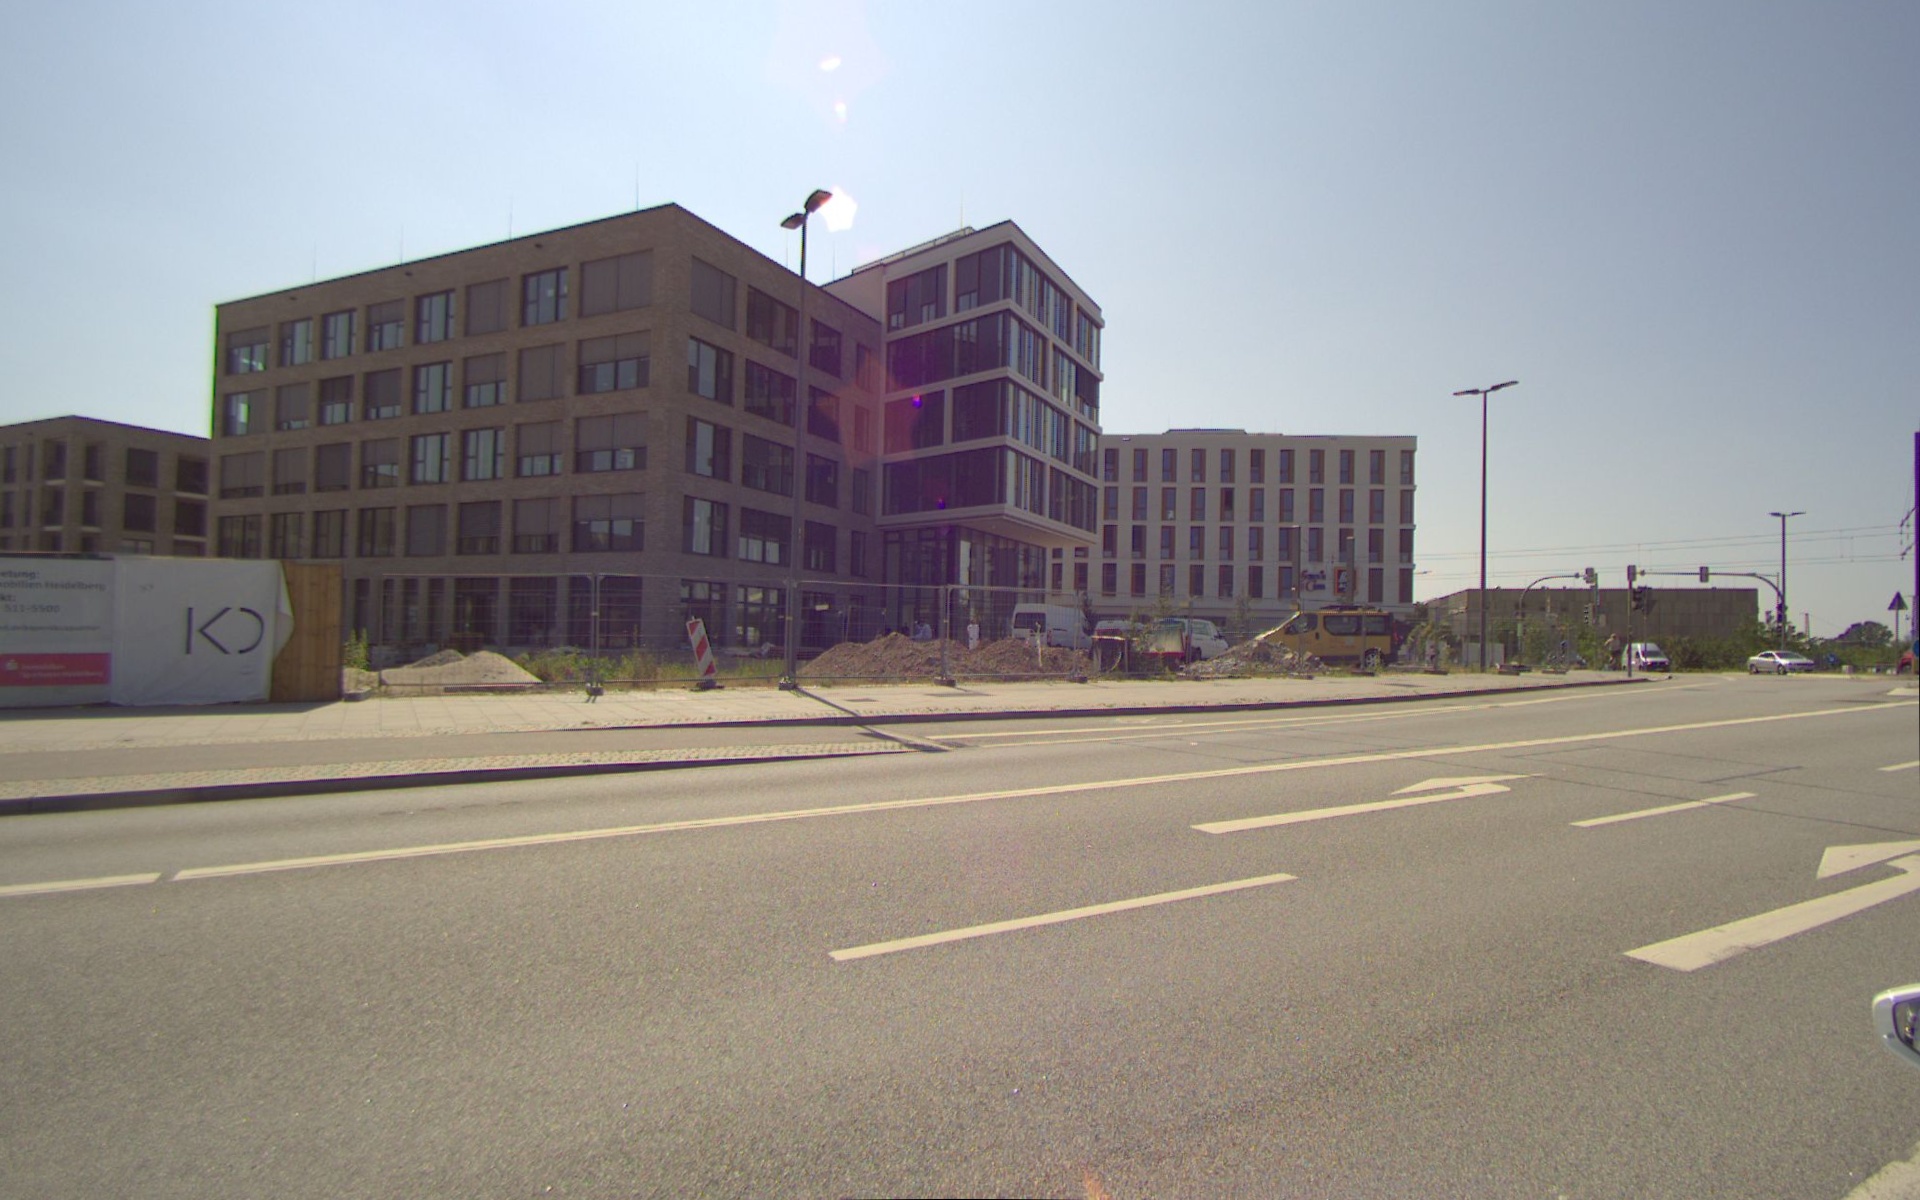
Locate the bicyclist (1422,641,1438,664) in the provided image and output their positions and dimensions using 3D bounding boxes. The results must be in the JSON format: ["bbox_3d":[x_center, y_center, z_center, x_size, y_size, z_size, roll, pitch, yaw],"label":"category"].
[{"bbox_3d":[25.659,2.867,54.861,0.648,1.190,0.728,-3,-5,35],"label":"bicyclist"}]

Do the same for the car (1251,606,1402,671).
[{"bbox_3d":[12.226,1.259,33.750,4.395,1.915,2.001,2,0,8],"label":"car"}]

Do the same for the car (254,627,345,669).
[{"bbox_3d":[-30.404,2.185,46.234,3.708,1.675,1.834,2,0,26],"label":"car"}]

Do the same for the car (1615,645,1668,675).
[{"bbox_3d":[53.285,4.650,78.645,1.577,2.040,4.002,2,0,4],"label":"car"}]

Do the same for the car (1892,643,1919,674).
[{"bbox_3d":[48.666,2.979,49.485,1.652,1.475,3.999,2,0,-2],"label":"car"}]

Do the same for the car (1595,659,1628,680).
[{"bbox_3d":[69.619,7.437,107.386,1.960,2.040,4.001,1,-1,19],"label":"car"}]

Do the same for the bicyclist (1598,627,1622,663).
[{"bbox_3d":[29.579,2.041,45.731,0.808,1.589,0.947,2,0,29],"label":"bicyclist"}]

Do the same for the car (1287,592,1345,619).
[{"bbox_3d":[29.018,0.404,81.986,1.986,2.040,3.949,2,0,-43],"label":"car"}]

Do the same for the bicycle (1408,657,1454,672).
[{"bbox_3d":[25.701,3.524,54.832,2.218,0.701,0.514,1,-1,38],"label":"bicycle"}]

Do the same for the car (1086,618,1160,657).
[{"bbox_3d":[7.140,1.606,43.680,1.773,1.528,3.991,2,0,31],"label":"car"}]

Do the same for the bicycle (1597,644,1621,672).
[{"bbox_3d":[29.643,2.642,45.919,0.665,1.142,2.362,2,0,27],"label":"bicycle"}]

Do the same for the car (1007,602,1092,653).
[{"bbox_3d":[4.026,1.231,44.740,2.175,2.083,4.164,2,0,30],"label":"car"}]

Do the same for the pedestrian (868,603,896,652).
[{"bbox_3d":[-3.356,1.189,43.301,0.949,2.040,0.940,2,0,-17],"label":"pedestrian"}]

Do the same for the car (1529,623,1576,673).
[{"bbox_3d":[26.176,2.080,44.370,1.646,2.040,3.992,2,0,31],"label":"car"}]

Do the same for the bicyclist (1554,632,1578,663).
[{"bbox_3d":[31.944,2.487,52.973,0.846,1.580,0.825,2,-3,16],"label":"bicyclist"}]

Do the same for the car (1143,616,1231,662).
[{"bbox_3d":[9.578,1.622,42.144,1.969,1.730,4.546,2,0,35],"label":"car"}]

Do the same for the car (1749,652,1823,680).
[{"bbox_3d":[49.205,3.912,59.917,1.736,1.350,3.717,2,0,9],"label":"car"}]

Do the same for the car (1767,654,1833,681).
[{"bbox_3d":[61.346,4.929,73.457,1.796,1.666,4.212,2,0,9],"label":"car"}]

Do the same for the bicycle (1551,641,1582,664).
[{"bbox_3d":[31.975,2.773,52.999,0.714,1.149,2.534,1,-3,15],"label":"bicycle"}]

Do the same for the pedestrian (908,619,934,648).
[{"bbox_3d":[-1.931,1.652,49.408,1.099,1.391,0.742,2,0,-17],"label":"pedestrian"}]
